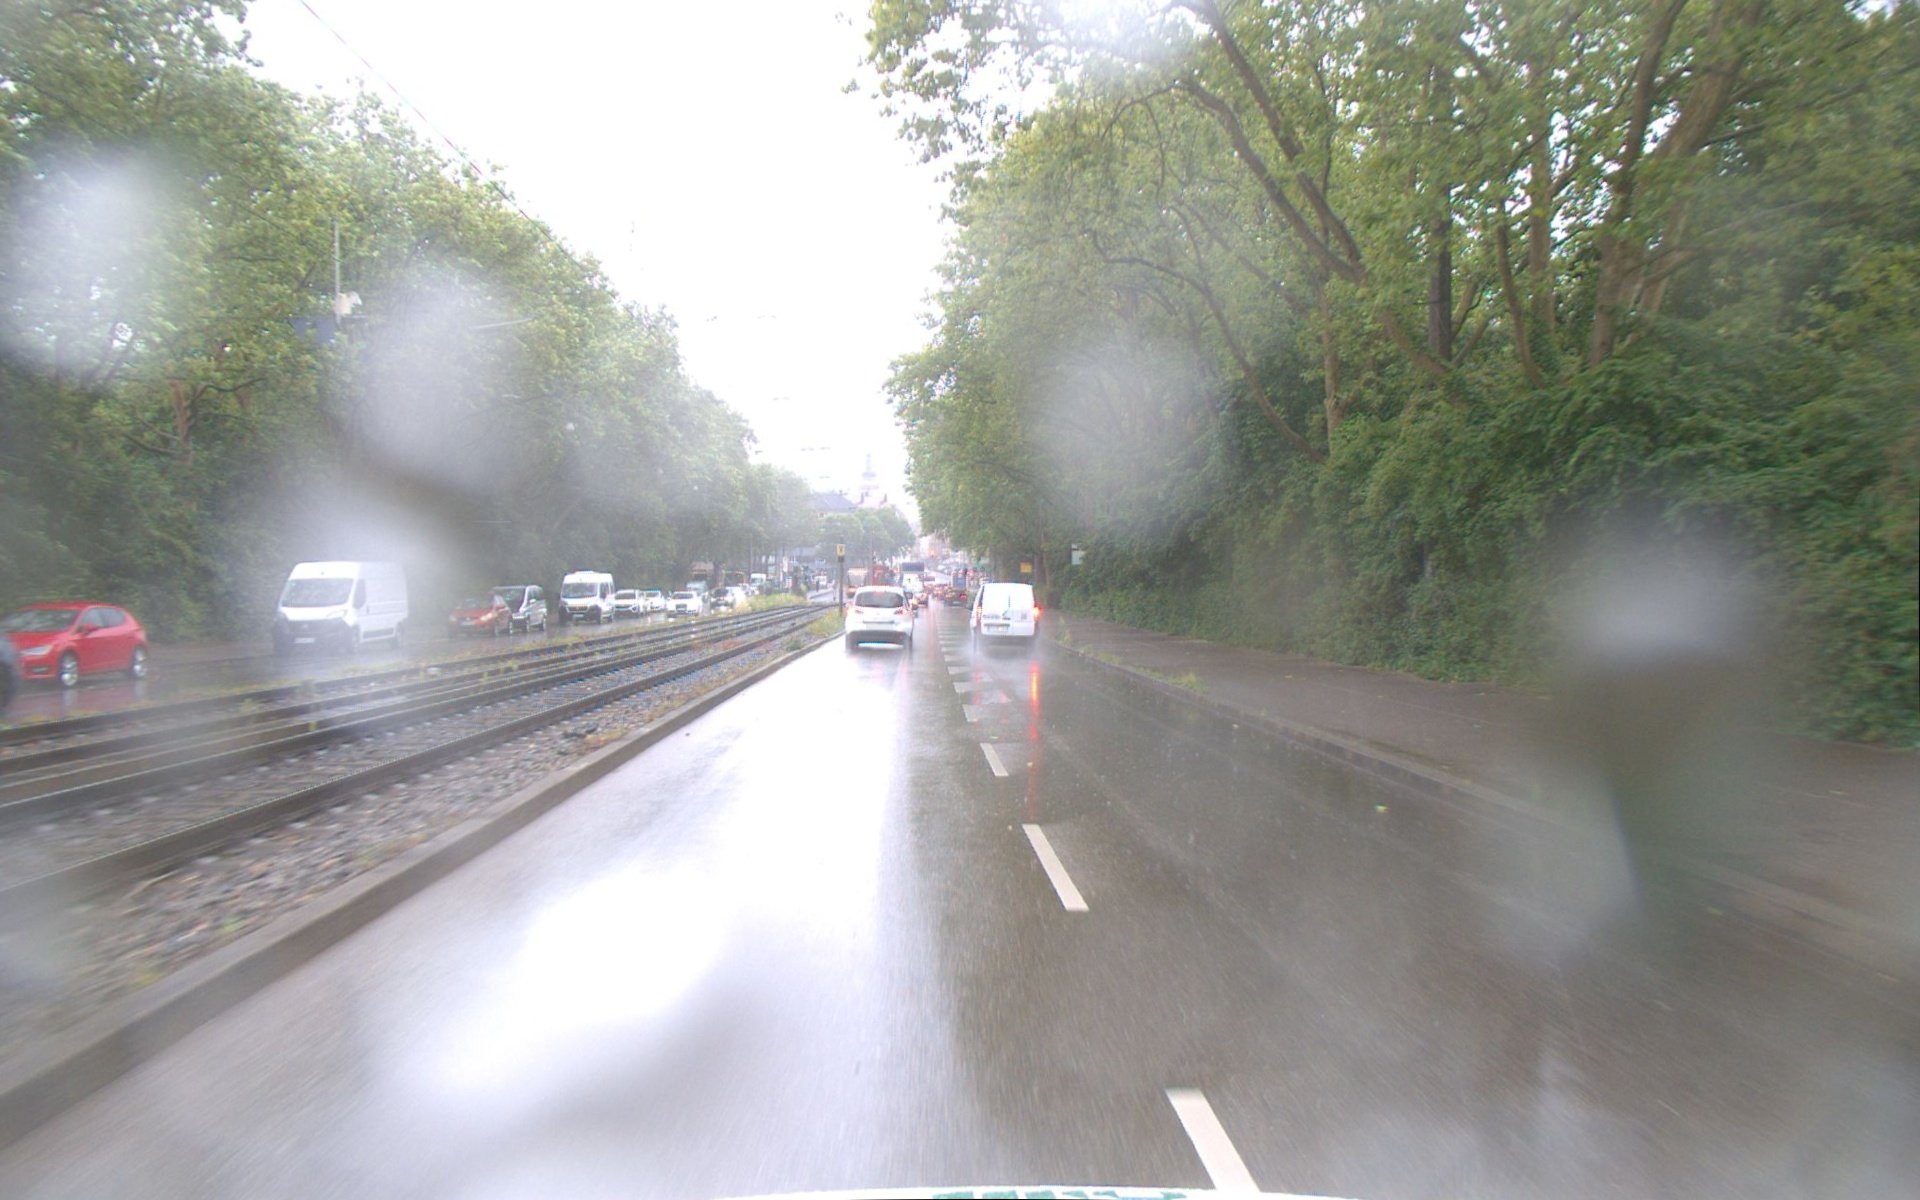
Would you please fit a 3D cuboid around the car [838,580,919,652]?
[{"bbox_3d":[-2.133,0.379,44.452,1.953,1.746,4.000,1,1,0],"label":"car"}]

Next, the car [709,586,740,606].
[{"bbox_3d":[-17.525,-0.300,123.176,1.769,1.373,4.262,-2,1,-2],"label":"car"}]

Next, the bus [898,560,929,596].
[{"bbox_3d":[-5.366,-2.609,192.482,3.320,3.903,9.739,1,1,0],"label":"bus"}]

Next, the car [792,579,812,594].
[{"bbox_3d":[-16.019,-1.349,168.039,1.769,1.373,4.262,-2,1,-2],"label":"car"}]

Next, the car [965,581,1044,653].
[{"bbox_3d":[1.147,0.416,44.208,1.953,1.756,4.000,1,1,0],"label":"car"}]

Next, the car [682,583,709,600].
[{"bbox_3d":[-23.437,-0.768,146.528,1.769,1.373,4.262,-2,1,-2],"label":"car"}]

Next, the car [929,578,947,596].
[{"bbox_3d":[-2.394,-1.472,181.396,1.953,1.858,4.000,1,1,0],"label":"car"}]

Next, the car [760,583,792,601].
[{"bbox_3d":[-15.919,-0.735,143.218,1.766,1.373,4.268,-2,2,6],"label":"car"}]

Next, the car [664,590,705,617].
[{"bbox_3d":[-15.897,0.190,95.595,1.769,1.373,4.262,-2,1,-2],"label":"car"}]

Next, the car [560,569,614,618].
[{"bbox_3d":[-18.333,-0.337,81.465,1.764,2.260,4.276,-2,1,-2],"label":"car"}]

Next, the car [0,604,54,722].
[{"bbox_3d":[-12.605,0.857,19.344,1.475,1.425,4.706,-2,1,-2],"label":"car"}]

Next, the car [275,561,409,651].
[{"bbox_3d":[-16.662,0.086,44.917,1.707,2.207,5.811,-2,1,-3],"label":"car"}]

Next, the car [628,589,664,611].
[{"bbox_3d":[-21.787,-0.019,114.891,1.769,1.373,4.262,-2,1,-2],"label":"car"}]

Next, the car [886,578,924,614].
[{"bbox_3d":[-3.078,-0.245,92.815,1.953,1.858,4.000,1,1,0],"label":"car"}]

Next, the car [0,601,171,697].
[{"bbox_3d":[-16.039,0.834,29.917,1.577,1.467,4.261,-2,1,-2],"label":"car"}]

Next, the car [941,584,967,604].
[{"bbox_3d":[-0.438,-0.451,124.606,1.953,1.344,4.000,1,1,0],"label":"car"}]

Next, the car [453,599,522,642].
[{"bbox_3d":[-17.292,0.738,60.670,1.475,1.373,4.026,-2,1,-2],"label":"car"}]

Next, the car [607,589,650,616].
[{"bbox_3d":[-19.497,0.127,97.403,1.769,1.373,4.262,-2,1,-2],"label":"car"}]

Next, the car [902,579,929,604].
[{"bbox_3d":[-3.456,-0.678,129.503,1.953,1.858,4.000,1,1,0],"label":"car"}]

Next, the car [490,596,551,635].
[{"bbox_3d":[-17.639,0.587,66.561,1.475,1.373,4.026,-2,1,-2],"label":"car"}]
